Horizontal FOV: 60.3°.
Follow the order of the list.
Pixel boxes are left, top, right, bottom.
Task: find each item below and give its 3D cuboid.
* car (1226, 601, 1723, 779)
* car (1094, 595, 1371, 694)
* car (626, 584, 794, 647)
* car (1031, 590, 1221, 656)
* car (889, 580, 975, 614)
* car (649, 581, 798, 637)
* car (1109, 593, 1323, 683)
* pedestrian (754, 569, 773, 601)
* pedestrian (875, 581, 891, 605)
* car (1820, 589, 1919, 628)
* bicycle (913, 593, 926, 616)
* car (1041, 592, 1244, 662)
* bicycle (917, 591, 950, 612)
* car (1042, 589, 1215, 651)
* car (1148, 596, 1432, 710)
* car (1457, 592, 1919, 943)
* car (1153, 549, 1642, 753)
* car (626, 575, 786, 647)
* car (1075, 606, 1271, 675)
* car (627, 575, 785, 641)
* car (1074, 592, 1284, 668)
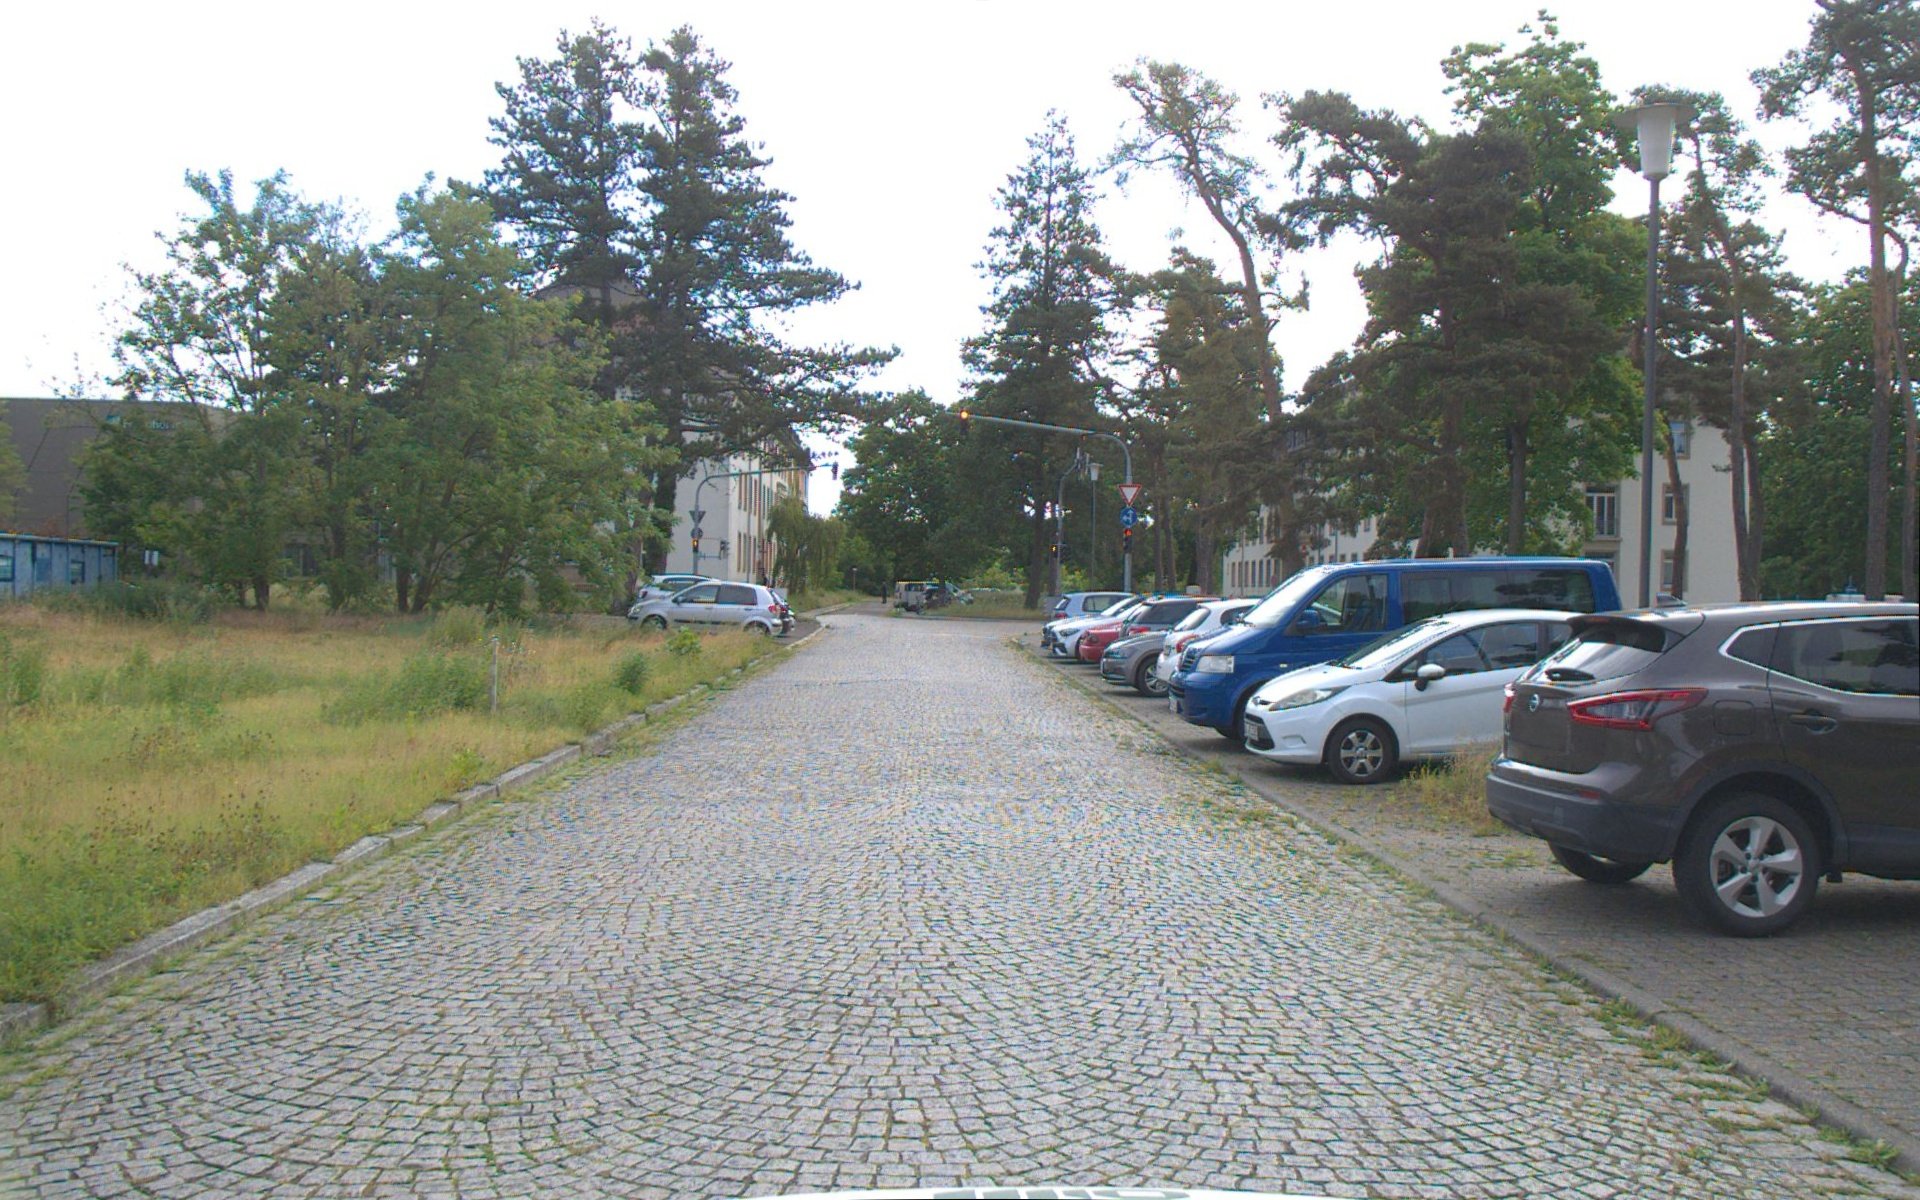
[{"bbox_3d":[4.622,0.771,15.185,4.017,1.504,1.720,0,0,-5],"label":"car"},{"bbox_3d":[4.202,0.672,25.931,4.047,1.472,1.765,0,0,-2],"label":"car"},{"bbox_3d":[-6.425,0.377,42.727,4.217,1.581,1.809,0,0,-8],"label":"car"},{"bbox_3d":[3.880,0.520,38.888,4.155,1.505,1.704,0,0,-13],"label":"car"},{"bbox_3d":[-1.854,-0.194,108.172,5.285,2.138,2.170,1,0,-14],"label":"car"},{"bbox_3d":[-6.830,0.256,47.973,4.217,1.581,1.809,0,0,-8],"label":"car"},{"bbox_3d":[4.408,0.641,28.807,3.435,1.513,1.742,0,0,-3],"label":"car"},{"bbox_3d":[-12.529,-0.948,105.477,1.053,1.993,1.121,2,0,-2],"label":"pedestrian"},{"bbox_3d":[-6.432,-0.580,137.956,1.216,1.993,1.119,2,0,-7],"label":"pedestrian"},{"bbox_3d":[53.282,0.496,96.361,5.193,2.055,2.105,3,0,-1],"label":"car"},{"bbox_3d":[-2.158,0.225,88.717,0.649,1.191,1.887,2,0,-1],"label":"bicycle"},{"bbox_3d":[3.948,0.573,36.122,4.108,1.462,1.752,0,0,-9],"label":"car"},{"bbox_3d":[-1.574,0.082,96.872,1.846,1.191,0.664,2,0,-8],"label":"bicycle"},{"bbox_3d":[4.196,0.488,41.453,4.057,1.489,1.631,0,0,-7],"label":"car"},{"bbox_3d":[4.526,0.708,23.037,3.580,1.504,1.765,0,0,-2],"label":"car"},{"bbox_3d":[5.024,0.779,8.841,4.120,1.623,1.952,0,0,-4],"label":"car"},{"bbox_3d":[4.568,0.504,17.728,4.701,2.039,1.965,0,0,-4],"label":"car"},{"bbox_3d":[-6.114,0.248,40.141,3.648,1.506,1.671,3,0,-5],"label":"car"},{"bbox_3d":[4.006,0.752,31.419,3.513,1.244,1.628,0,0,-1],"label":"car"},{"bbox_3d":[-6.936,0.206,45.514,4.216,1.762,1.650,0,0,-7],"label":"car"},{"bbox_3d":[4.425,0.596,33.777,4.023,1.502,1.683,0,0,-4],"label":"car"}]
